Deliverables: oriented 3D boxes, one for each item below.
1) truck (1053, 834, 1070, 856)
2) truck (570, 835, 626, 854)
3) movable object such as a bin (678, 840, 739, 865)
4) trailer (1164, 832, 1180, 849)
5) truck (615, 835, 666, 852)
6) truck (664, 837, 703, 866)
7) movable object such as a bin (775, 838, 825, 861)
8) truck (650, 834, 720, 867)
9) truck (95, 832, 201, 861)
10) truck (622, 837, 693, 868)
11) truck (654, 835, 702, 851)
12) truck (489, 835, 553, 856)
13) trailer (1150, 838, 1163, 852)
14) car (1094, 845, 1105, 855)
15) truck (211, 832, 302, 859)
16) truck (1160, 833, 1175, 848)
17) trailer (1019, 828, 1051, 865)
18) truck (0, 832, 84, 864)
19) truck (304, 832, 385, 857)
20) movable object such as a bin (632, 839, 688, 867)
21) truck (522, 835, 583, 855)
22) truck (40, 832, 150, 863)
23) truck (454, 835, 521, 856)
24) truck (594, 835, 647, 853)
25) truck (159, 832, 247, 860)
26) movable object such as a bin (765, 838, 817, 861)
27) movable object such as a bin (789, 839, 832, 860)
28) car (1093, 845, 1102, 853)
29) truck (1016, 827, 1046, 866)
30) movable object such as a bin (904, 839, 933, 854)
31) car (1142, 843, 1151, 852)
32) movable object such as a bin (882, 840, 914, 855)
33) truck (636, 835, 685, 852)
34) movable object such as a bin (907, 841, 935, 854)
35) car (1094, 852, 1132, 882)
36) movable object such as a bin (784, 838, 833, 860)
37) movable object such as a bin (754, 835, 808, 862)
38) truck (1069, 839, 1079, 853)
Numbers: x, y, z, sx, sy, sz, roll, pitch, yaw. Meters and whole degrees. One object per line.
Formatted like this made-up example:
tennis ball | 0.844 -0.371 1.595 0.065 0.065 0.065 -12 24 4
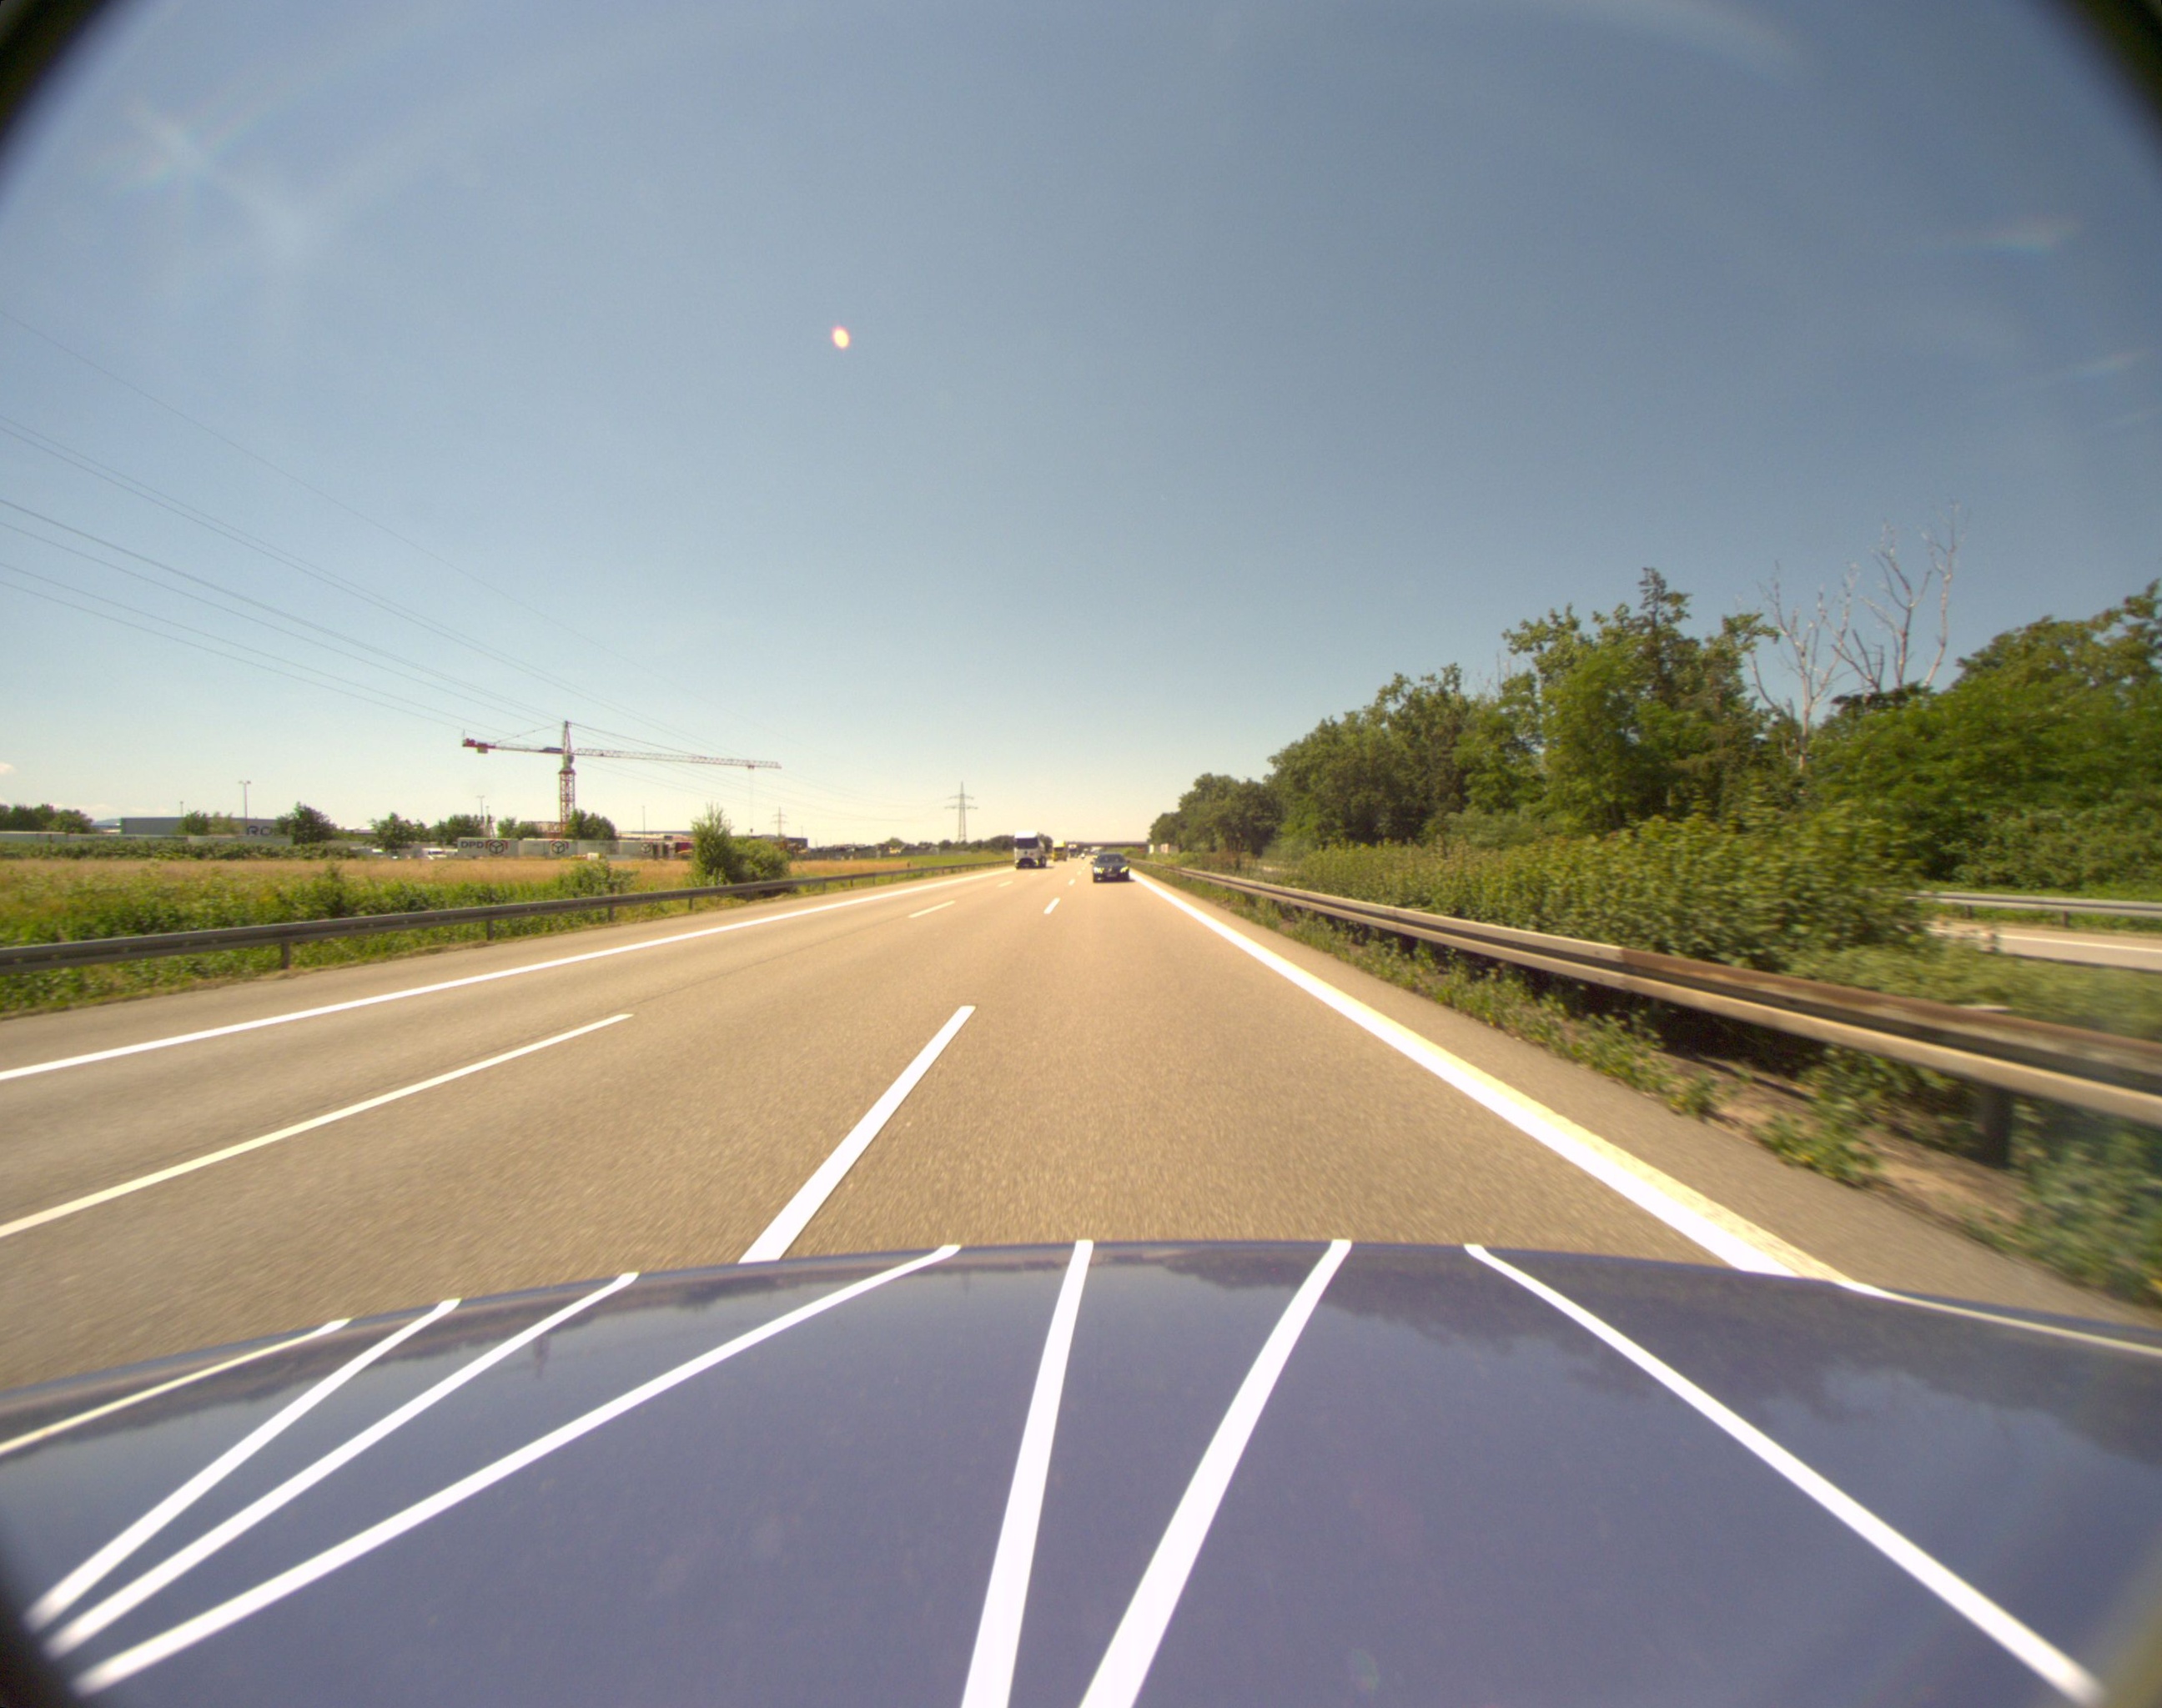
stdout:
truck | -3.853 -1.885 152.047 2.977 4.240 12.610 0 1 1
truck | -89.104 -1.810 140.213 8.178 3.392 2.833 0 1 -15
movable object such as a bin | -55.507 -0.260 113.240 7.583 3.443 2.881 -2 1 2
trailer | 21.740 -3.240 182.572 2.933 3.806 9.274 0 1 1
truck | -86.047 -2.031 148.529 8.172 3.392 2.835 0 1 -7
truck | -68.543 -0.424 131.163 3.051 4.745 5.982 -2 1 2
movable object such as a bin | -53.230 -0.929 143.829 8.112 3.928 3.137 -2 1 2
truck | -62.687 -0.571 120.914 3.051 4.745 14.323 -2 1 2
truck | -110.267 -0.858 89.917 8.172 3.392 2.827 0 1 -7
truck | -68.797 -0.336 123.921 3.051 4.745 14.133 -2 1 2
truck | -82.857 -2.252 156.214 8.176 3.392 2.833 0 1 -12
truck | -94.340 -1.453 128.109 8.178 3.392 2.632 0 1 -15
trailer | 22.921 -2.589 230.268 2.543 4.067 14.244 1 1 1
car | 3.102 -0.645 126.482 1.861 1.696 3.999 0 1 1
truck | -106.568 -1.108 98.282 8.171 3.392 2.755 0 1 -5
truck | 21.861 -3.344 191.825 2.933 3.806 9.274 0 1 1
trailer | -5.182 -0.871 87.268 2.573 3.871 13.278 -2 1 1
truck | -113.825 -0.621 82.229 8.166 3.392 2.829 0 1 1
truck | -102.414 -1.353 105.719 8.171 3.392 2.755 0 1 -5
movable object such as a bin | -78.394 -0.201 141.382 8.826 4.623 3.295 -2 1 11
truck | -92.181 -1.596 132.726 8.178 3.392 2.833 0 1 -15
truck | -111.671 -0.757 86.143 8.170 3.392 2.828 0 1 -4
truck | -96.336 -1.316 123.461 8.178 3.392 2.524 0 1 -15
truck | -87.386 -1.929 144.402 8.178 3.392 2.833 0 1 -15
truck | -108.298 -0.985 93.784 8.163 3.392 2.830 0 1 5
movable object such as a bin | -53.349 -0.882 139.865 8.112 3.928 3.137 -2 1 2
movable object such as a bin | -58.144 -0.980 163.130 9.362 4.029 3.442 -2 1 32
car | 3.351 -0.999 156.979 1.861 1.696 3.999 0 1 1
truck | -5.274 -0.795 80.485 2.573 3.871 5.722 -2 1 1
movable object such as a bin | -51.464 -2.288 240.959 8.112 4.349 2.881 -2 1 2
car | 19.266 -1.857 222.485 2.130 2.452 5.085 1 0 0
movable object such as a bin | -52.132 -1.806 216.612 8.112 3.883 2.881 -2 1 2
truck | -84.409 -2.146 152.557 8.175 3.392 2.834 0 1 -10
movable object such as a bin | -51.377 -2.107 244.675 8.112 3.916 2.881 -2 1 2
car | 1.601 0.616 39.106 1.808 1.385 3.999 -2 1 1
movable object such as a bin | -52.921 -0.984 147.745 8.112 3.928 3.137 -2 1 2
movable object such as a bin | -53.547 -0.980 135.912 8.112 4.272 3.299 -2 1 2
truck | -2.106 -2.499 236.470 2.977 4.240 12.610 0 1 1
